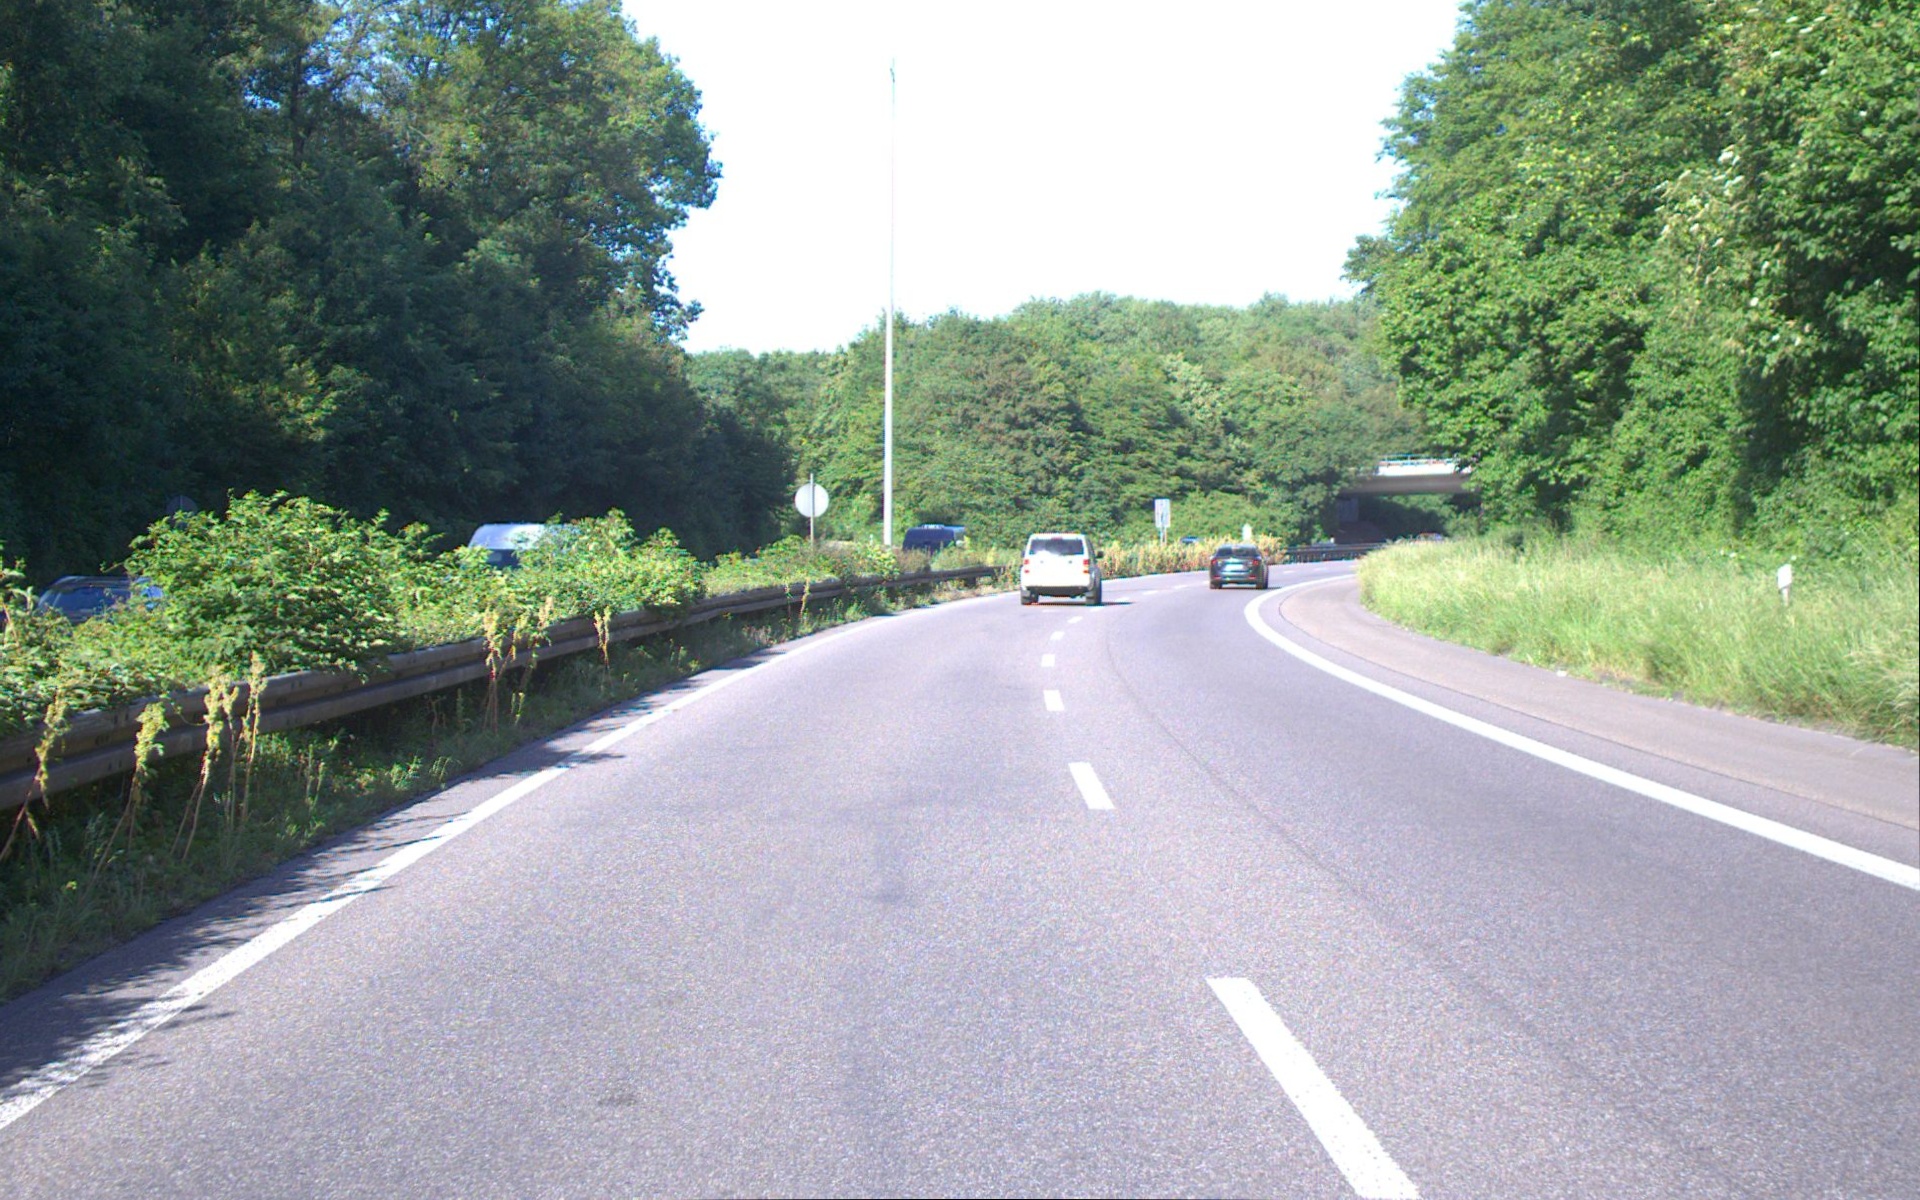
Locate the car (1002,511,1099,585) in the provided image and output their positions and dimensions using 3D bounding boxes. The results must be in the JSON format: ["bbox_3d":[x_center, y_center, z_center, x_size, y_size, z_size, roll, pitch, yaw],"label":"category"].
[{"bbox_3d":[2.219,-1.292,85.755,1.951,1.776,4.588,0,1,-4],"label":"car"}]

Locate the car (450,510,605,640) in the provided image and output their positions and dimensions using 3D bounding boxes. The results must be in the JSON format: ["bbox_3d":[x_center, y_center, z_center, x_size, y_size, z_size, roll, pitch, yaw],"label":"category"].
[{"bbox_3d":[-7.851,-0.463,62.930,1.914,2.245,5.784,1,1,2],"label":"car"}]

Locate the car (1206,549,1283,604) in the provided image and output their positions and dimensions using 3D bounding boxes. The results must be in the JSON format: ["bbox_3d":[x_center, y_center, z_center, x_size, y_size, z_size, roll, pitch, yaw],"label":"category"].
[{"bbox_3d":[9.526,-0.786,114.801,1.952,1.776,4.585,1,1,12],"label":"car"}]

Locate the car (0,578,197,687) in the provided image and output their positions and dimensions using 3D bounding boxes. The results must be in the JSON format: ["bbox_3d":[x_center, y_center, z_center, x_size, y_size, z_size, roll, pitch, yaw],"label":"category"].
[{"bbox_3d":[-12.143,0.419,48.212,1.761,1.419,4.779,0,1,1],"label":"car"}]

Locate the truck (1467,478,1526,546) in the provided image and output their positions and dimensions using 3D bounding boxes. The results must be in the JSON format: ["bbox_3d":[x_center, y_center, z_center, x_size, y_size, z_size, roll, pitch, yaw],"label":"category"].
[{"bbox_3d":[35.299,-5.728,225.951,3.736,4.328,9.301,1,1,9],"label":"truck"}]
